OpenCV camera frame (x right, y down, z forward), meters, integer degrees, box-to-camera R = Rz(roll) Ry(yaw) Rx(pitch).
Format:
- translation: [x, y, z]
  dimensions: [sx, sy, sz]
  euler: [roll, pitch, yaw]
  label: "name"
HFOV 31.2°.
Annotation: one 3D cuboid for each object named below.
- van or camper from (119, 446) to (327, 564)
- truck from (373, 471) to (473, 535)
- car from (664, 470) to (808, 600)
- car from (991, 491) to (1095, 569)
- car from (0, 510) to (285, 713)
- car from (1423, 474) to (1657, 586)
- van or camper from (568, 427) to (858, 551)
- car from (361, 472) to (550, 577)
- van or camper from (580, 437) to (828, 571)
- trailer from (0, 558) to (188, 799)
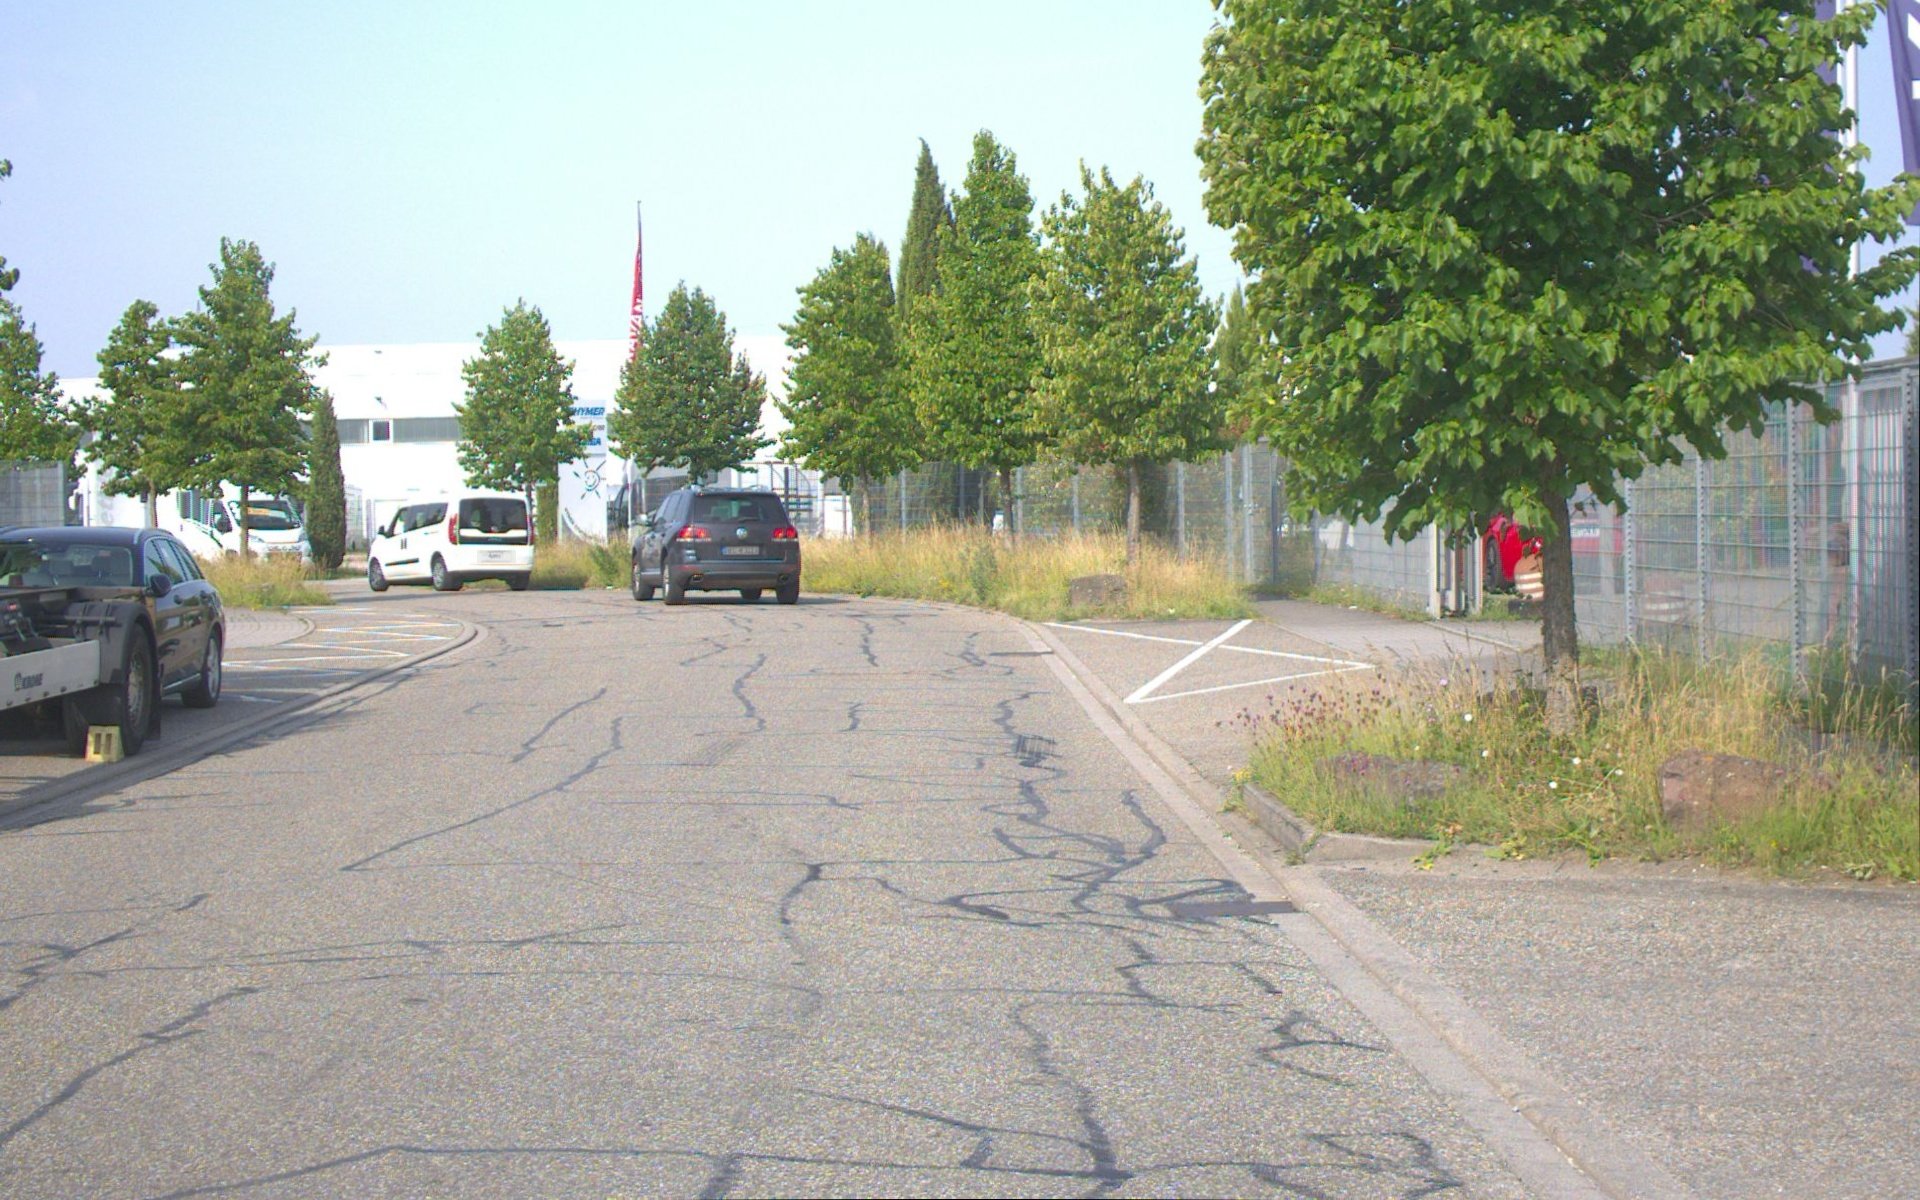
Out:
- translation: [-19.094, -2.447, 88.815]
  dimensions: [2.331, 2.933, 6.969]
  euler: [-2, 2, -39]
  label: "van or camper"
- translation: [-19.701, -3.591, 126.600]
  dimensions: [2.450, 2.257, 8.003]
  euler: [-1, 2, 0]
  label: "truck"
- translation: [-3.299, -0.971, 50.076]
  dimensions: [1.993, 1.798, 4.001]
  euler: [0, 2, -5]
  label: "car"
- translation: [1.792, -1.562, 75.710]
  dimensions: [1.722, 1.637, 4.001]
  euler: [0, 2, -7]
  label: "car"
- translation: [-6.960, 0.029, 28.236]
  dimensions: [1.993, 1.461, 4.433]
  euler: [1, 2, -1]
  label: "car"
- translation: [7.507, -0.938, 44.933]
  dimensions: [1.880, 1.353, 4.774]
  euler: [-1, 2, -5]
  label: "car"
- translation: [-6.386, -2.851, 88.361]
  dimensions: [7.257, 3.021, 2.586]
  euler: [-1, 1, -7]
  label: "van or camper"
- translation: [-9.602, -1.443, 65.184]
  dimensions: [1.993, 1.893, 4.468]
  euler: [-2, 2, -30]
  label: "car"
- translation: [-5.814, -2.120, 76.887]
  dimensions: [2.349, 2.838, 7.342]
  euler: [-1, 2, -32]
  label: "van or camper"
- translation: [-6.462, 0.454, 20.446]
  dimensions: [2.130, 1.228, 7.158]
  euler: [1, 2, 0]
  label: "trailer"
